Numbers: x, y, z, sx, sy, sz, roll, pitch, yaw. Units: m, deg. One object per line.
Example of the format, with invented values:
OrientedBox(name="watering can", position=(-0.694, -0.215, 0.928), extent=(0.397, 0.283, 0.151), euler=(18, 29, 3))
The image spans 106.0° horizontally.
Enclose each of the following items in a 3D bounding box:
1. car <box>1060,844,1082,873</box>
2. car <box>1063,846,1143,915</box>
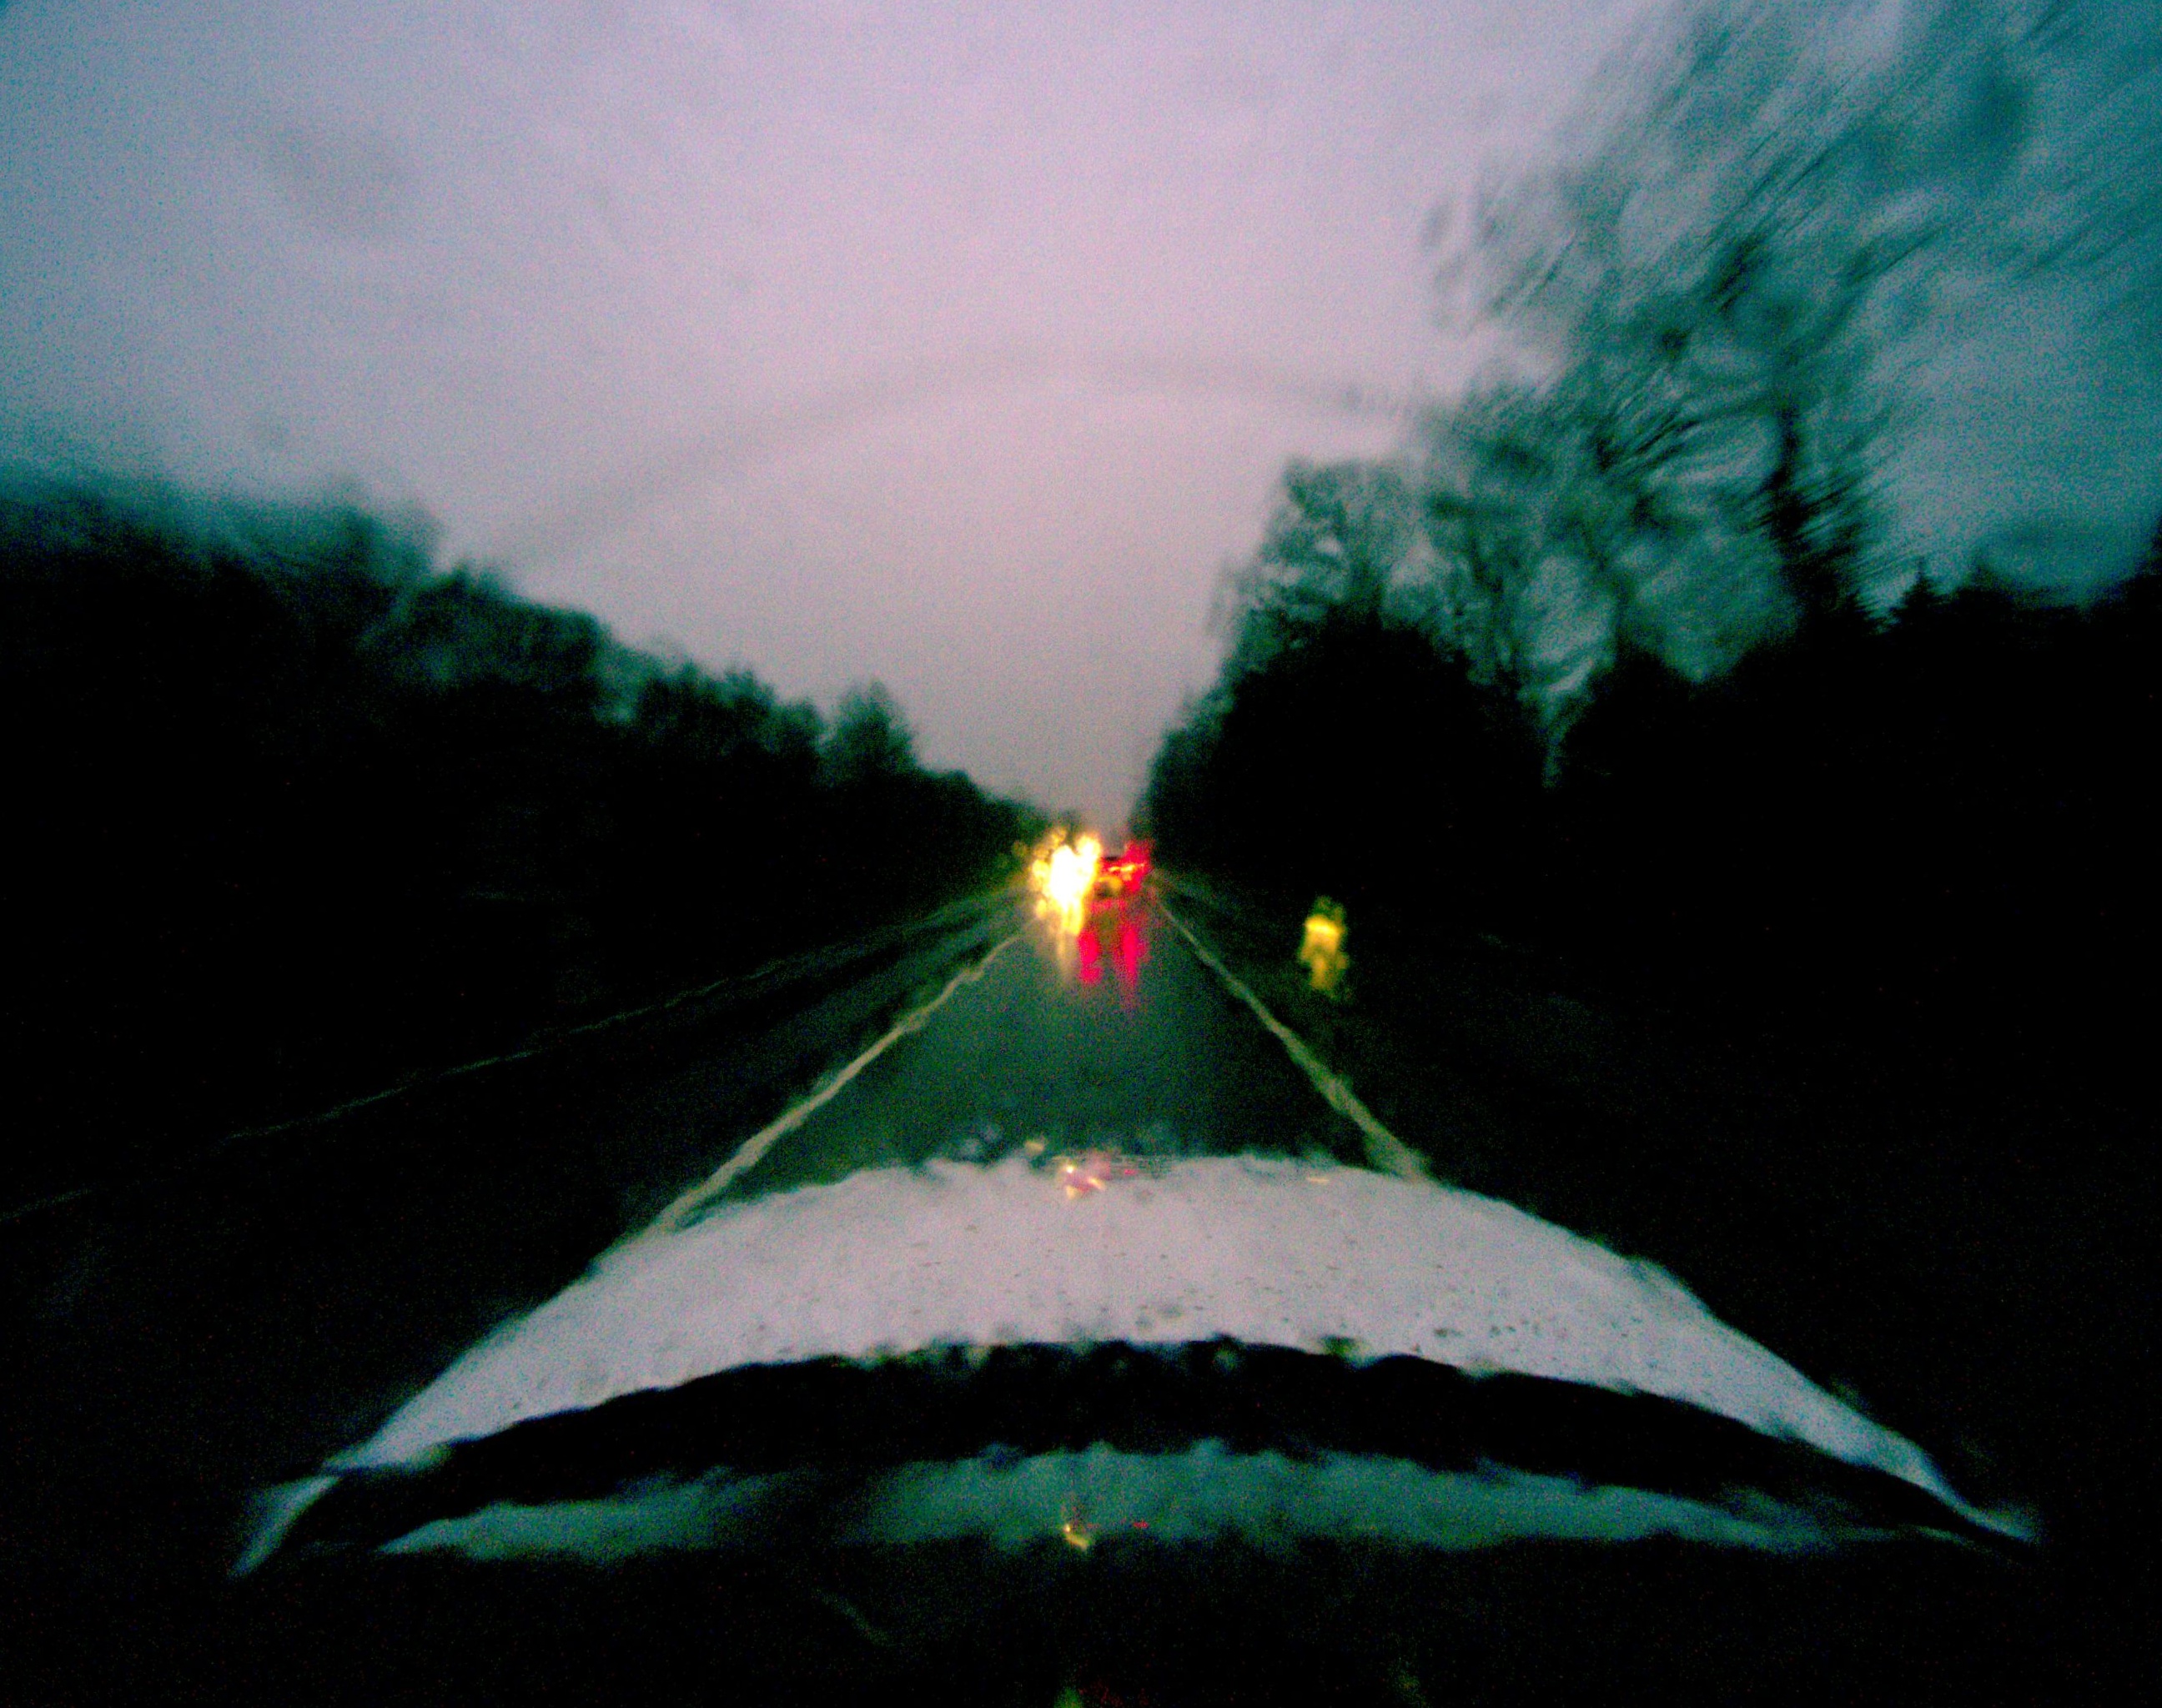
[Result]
OrientedBox(name="car", position=(-1.076, 0.492, 83.040), extent=(2.068, 2.811, 6.647), euler=(-1, -1, -2))
OrientedBox(name="car", position=(0.688, 0.743, 24.838), extent=(2.190, 1.878, 4.829), euler=(-1, -1, 2))
